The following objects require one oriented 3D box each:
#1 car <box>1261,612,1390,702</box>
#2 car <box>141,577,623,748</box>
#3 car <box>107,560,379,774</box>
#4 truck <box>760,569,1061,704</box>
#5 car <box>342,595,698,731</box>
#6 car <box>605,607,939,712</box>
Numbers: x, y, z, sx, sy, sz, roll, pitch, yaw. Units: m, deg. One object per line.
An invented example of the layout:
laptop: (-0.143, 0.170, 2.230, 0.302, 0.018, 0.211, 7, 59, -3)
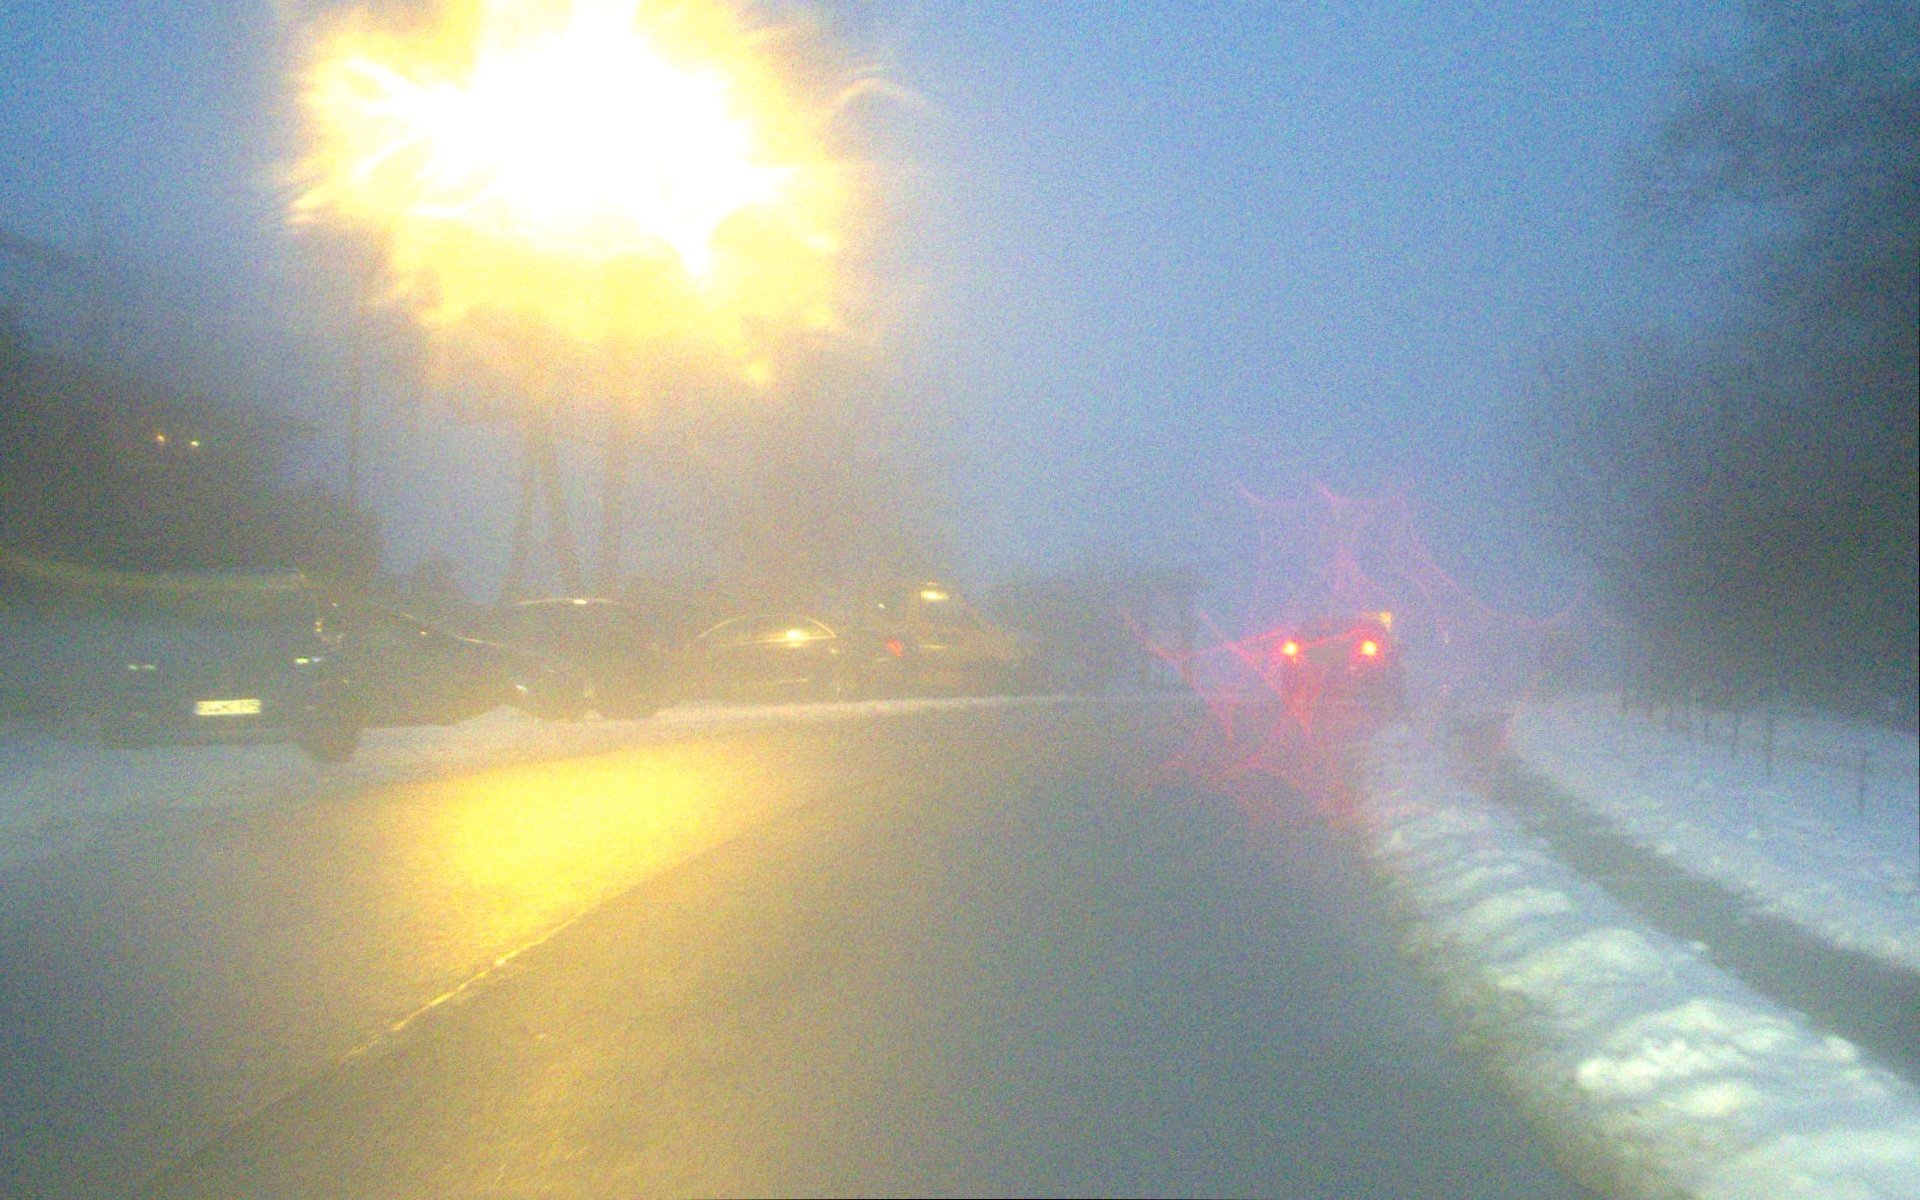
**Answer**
car: (6.151, 0.959, 57.558, 1.994, 1.415, 3.998, 1, -1, 8)
car: (-5.783, 0.626, 34.847, 4.527, 1.561, 2.111, -2, -1, -1)
car: (-6.012, 0.571, 29.074, 1.993, 1.561, 4.998, -2, -1, -11)
truck: (-0.882, 0.680, 63.400, 5.262, 2.295, 1.999, -2, -1, 6)
car: (-5.154, 0.737, 40.636, 3.854, 1.466, 1.938, -2, -1, 3)
car: (-2.903, 0.929, 53.791, 4.888, 1.480, 2.123, -2, -1, 7)
